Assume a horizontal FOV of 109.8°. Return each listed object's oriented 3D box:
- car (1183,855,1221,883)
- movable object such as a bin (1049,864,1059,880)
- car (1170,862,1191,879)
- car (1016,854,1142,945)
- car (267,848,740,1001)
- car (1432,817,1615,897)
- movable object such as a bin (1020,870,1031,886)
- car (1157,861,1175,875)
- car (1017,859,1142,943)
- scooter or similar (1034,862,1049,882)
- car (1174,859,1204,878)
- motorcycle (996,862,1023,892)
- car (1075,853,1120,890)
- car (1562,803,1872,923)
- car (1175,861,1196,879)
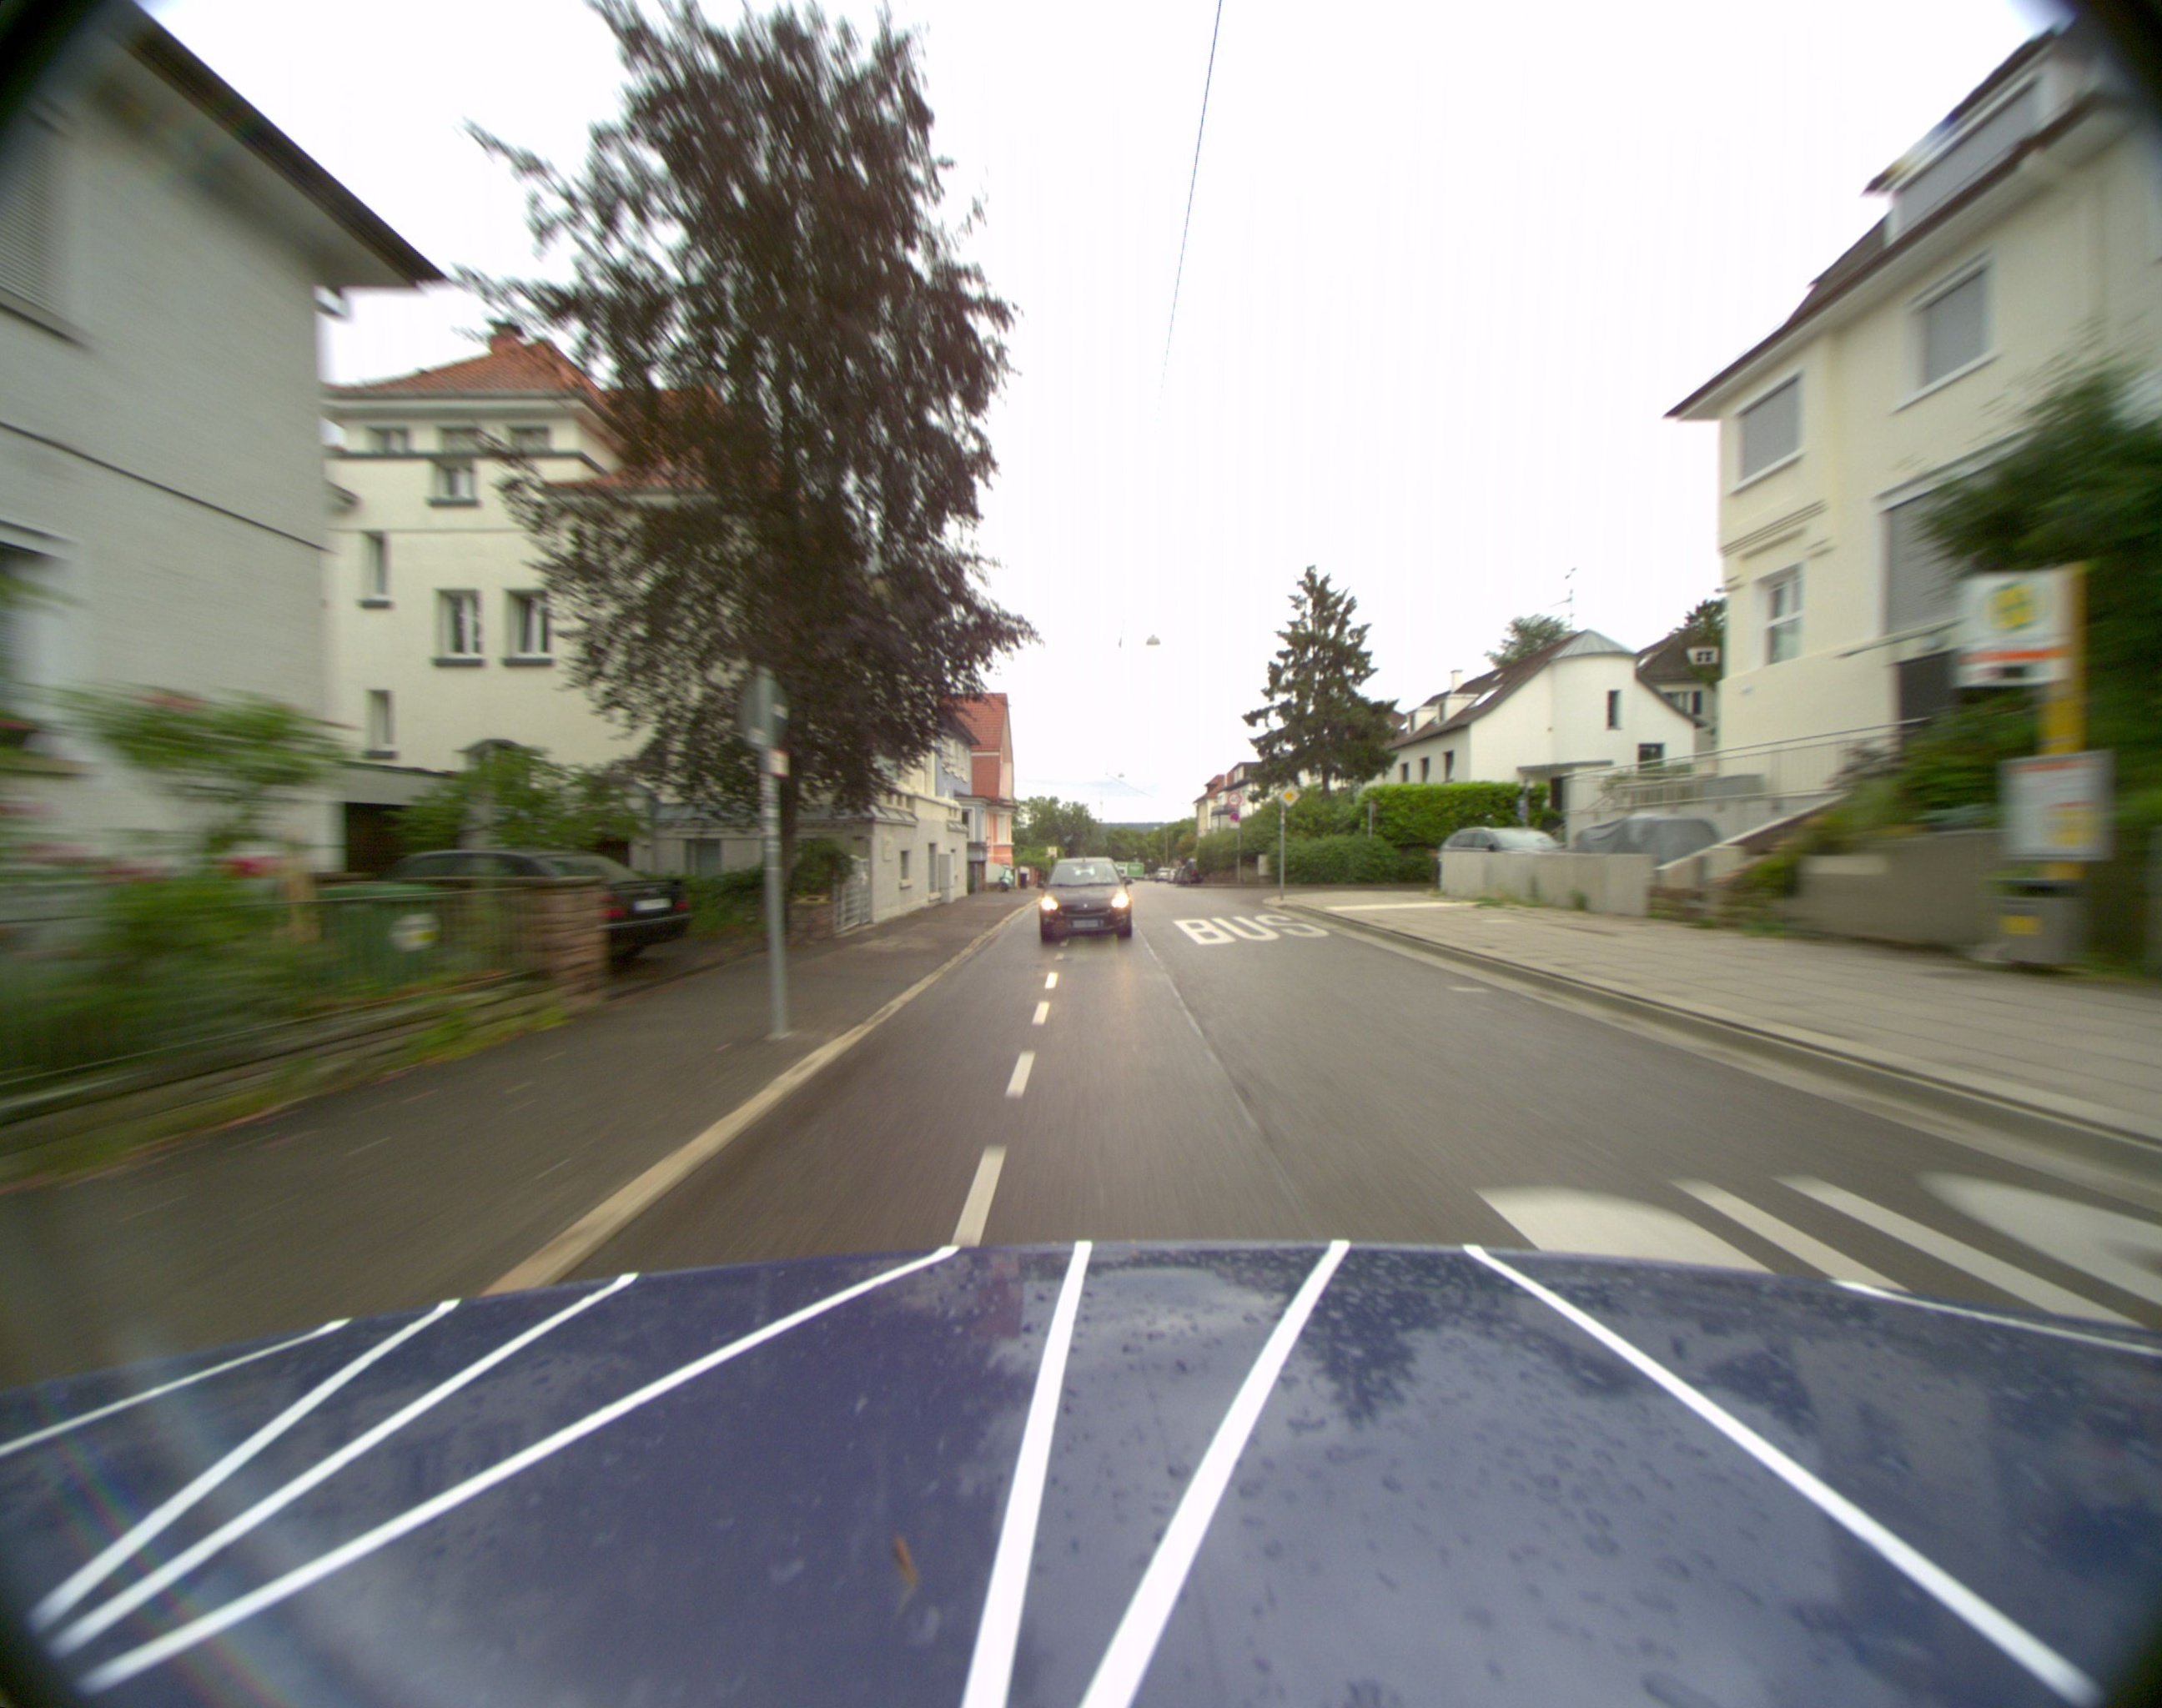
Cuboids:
[{"bbox_3d":[9.128,1.148,57.735,1.999,1.945,4.775,-3,-1,-1],"label":"car"},{"bbox_3d":[-2.251,1.488,63.353,0.726,1.238,0.917,2,0,5],"label":"movable object such as a bin"},{"bbox_3d":[9.492,1.582,72.884,1.594,1.482,3.438,-3,-1,2],"label":"car"},{"bbox_3d":[0.104,0.811,14.891,1.695,1.482,3.944,-3,-1,11],"label":"car"},{"bbox_3d":[-6.653,0.770,9.109,4.156,1.478,1.976,-1,4,5],"label":"car"},{"bbox_3d":[10.159,0.095,17.846,1.770,1.608,3.999,-2,-1,-3],"label":"car"},{"bbox_3d":[-3.176,1.367,43.547,0.533,0.913,0.488,2,0,-1],"label":"movable object such as a bin"},{"bbox_3d":[9.566,1.547,85.554,1.868,1.492,4.002,-2,-1,4],"label":"car"},{"bbox_3d":[0.125,0.828,14.921,1.710,1.414,4.004,-2,-1,10],"label":"car"},{"bbox_3d":[-2.885,1.309,55.211,0.355,1.394,1.481,-2,-1,26],"label":"scooter or similar"},{"bbox_3d":[9.021,1.222,63.690,1.696,1.482,4.404,-3,-1,-1],"label":"car"},{"bbox_3d":[-3.169,1.009,33.820,0.694,1.219,2.154,5,0,5],"label":"motorcycle"},{"bbox_3d":[0.788,0.816,35.865,1.928,1.577,4.001,-2,-1,1],"label":"car"},{"bbox_3d":[10.466,0.163,12.975,1.770,1.686,3.999,-2,-1,-3],"label":"car"},{"bbox_3d":[9.371,1.445,68.277,1.521,1.482,2.895,-3,-1,1],"label":"car"}]
